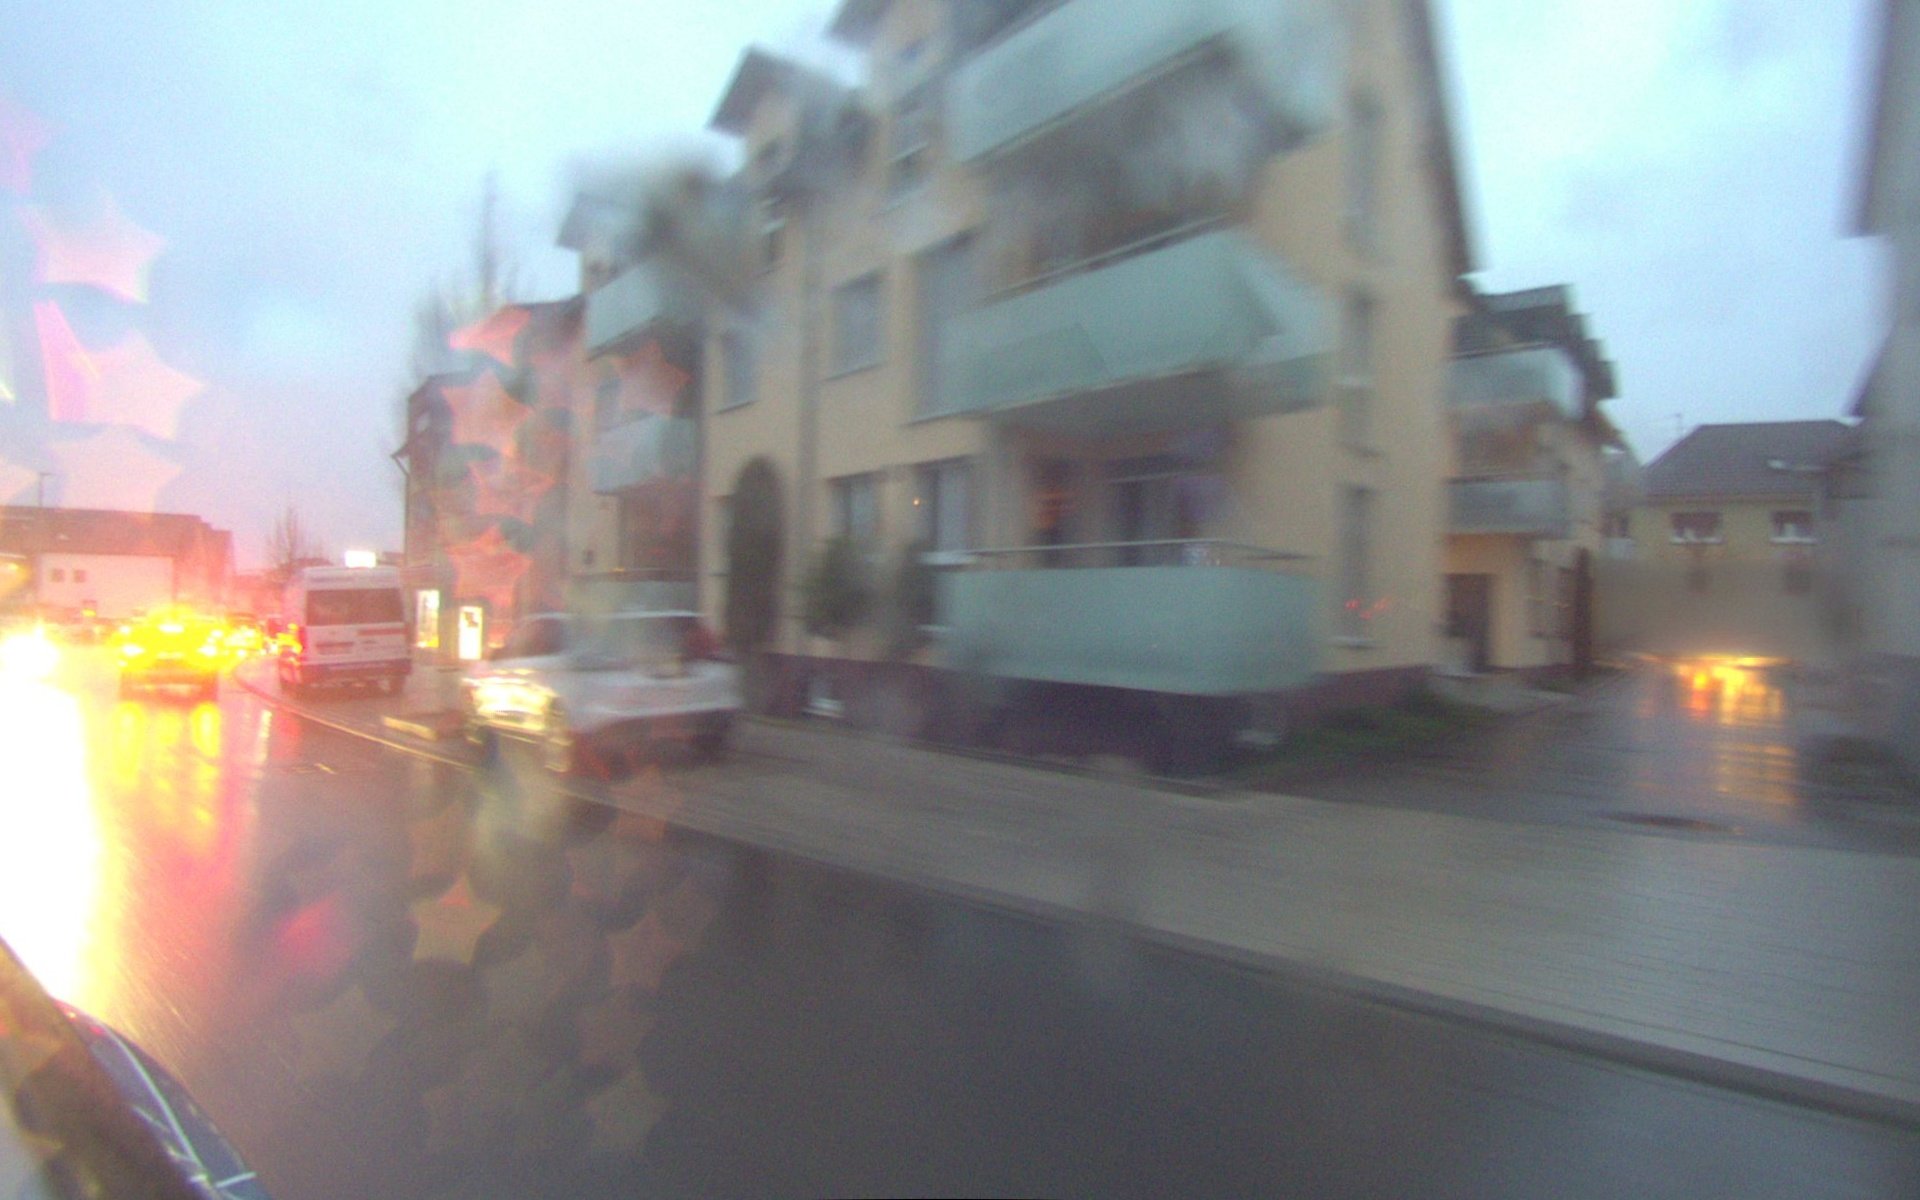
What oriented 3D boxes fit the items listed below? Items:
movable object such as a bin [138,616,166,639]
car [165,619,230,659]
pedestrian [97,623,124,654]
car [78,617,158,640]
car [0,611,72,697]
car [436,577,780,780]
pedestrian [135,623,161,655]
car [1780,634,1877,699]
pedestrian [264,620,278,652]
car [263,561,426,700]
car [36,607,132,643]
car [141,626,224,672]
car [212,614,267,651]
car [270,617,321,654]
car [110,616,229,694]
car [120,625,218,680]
[{"bbox_3d":[-58.833,2.003,73.671,1.374,1.656,1.265,4,-3,-32],"label":"movable object such as a bin"},{"bbox_3d":[-32.662,1.727,43.438,1.925,1.559,4.426,3,-5,-34],"label":"car"},{"bbox_3d":[-47.584,2.150,56.677,0.824,1.718,0.848,3,-2,-18],"label":"pedestrian"},{"bbox_3d":[-58.827,1.999,70.773,3.931,1.497,1.919,2,-1,-27],"label":"car"},{"bbox_3d":[-21.116,1.133,22.145,1.966,1.743,4.011,0,-1,-33],"label":"car"},{"bbox_3d":[-4.374,0.751,11.923,1.969,1.857,5.310,0,-1,-41],"label":"car"},{"bbox_3d":[-48.492,2.317,60.461,1.010,1.890,0.932,-1,-2,35],"label":"pedestrian"},{"bbox_3d":[23.682,1.786,27.717,1.720,1.625,3.960,-1,-3,37],"label":"car"},{"bbox_3d":[-34.241,1.776,50.296,0.521,1.597,0.578,1,-3,-32],"label":"pedestrian"},{"bbox_3d":[-13.729,0.581,22.316,2.453,2.579,6.776,0,0,-37],"label":"car"},{"bbox_3d":[-55.005,1.568,63.653,4.033,2.065,2.006,3,-3,-21],"label":"car"},{"bbox_3d":[-28.557,1.792,37.303,1.831,1.567,4.270,2,-3,-30],"label":"car"},{"bbox_3d":[-37.111,1.700,52.227,1.966,1.719,4.981,-1,-2,-32],"label":"car"},{"bbox_3d":[-32.605,1.686,49.721,1.854,1.723,4.726,0,-1,-30],"label":"car"},{"bbox_3d":[-17.899,1.192,22.881,1.893,1.576,4.234,4,-3,-39],"label":"car"},{"bbox_3d":[-24.363,1.599,31.306,1.966,1.567,4.269,2,-3,-33],"label":"car"}]
